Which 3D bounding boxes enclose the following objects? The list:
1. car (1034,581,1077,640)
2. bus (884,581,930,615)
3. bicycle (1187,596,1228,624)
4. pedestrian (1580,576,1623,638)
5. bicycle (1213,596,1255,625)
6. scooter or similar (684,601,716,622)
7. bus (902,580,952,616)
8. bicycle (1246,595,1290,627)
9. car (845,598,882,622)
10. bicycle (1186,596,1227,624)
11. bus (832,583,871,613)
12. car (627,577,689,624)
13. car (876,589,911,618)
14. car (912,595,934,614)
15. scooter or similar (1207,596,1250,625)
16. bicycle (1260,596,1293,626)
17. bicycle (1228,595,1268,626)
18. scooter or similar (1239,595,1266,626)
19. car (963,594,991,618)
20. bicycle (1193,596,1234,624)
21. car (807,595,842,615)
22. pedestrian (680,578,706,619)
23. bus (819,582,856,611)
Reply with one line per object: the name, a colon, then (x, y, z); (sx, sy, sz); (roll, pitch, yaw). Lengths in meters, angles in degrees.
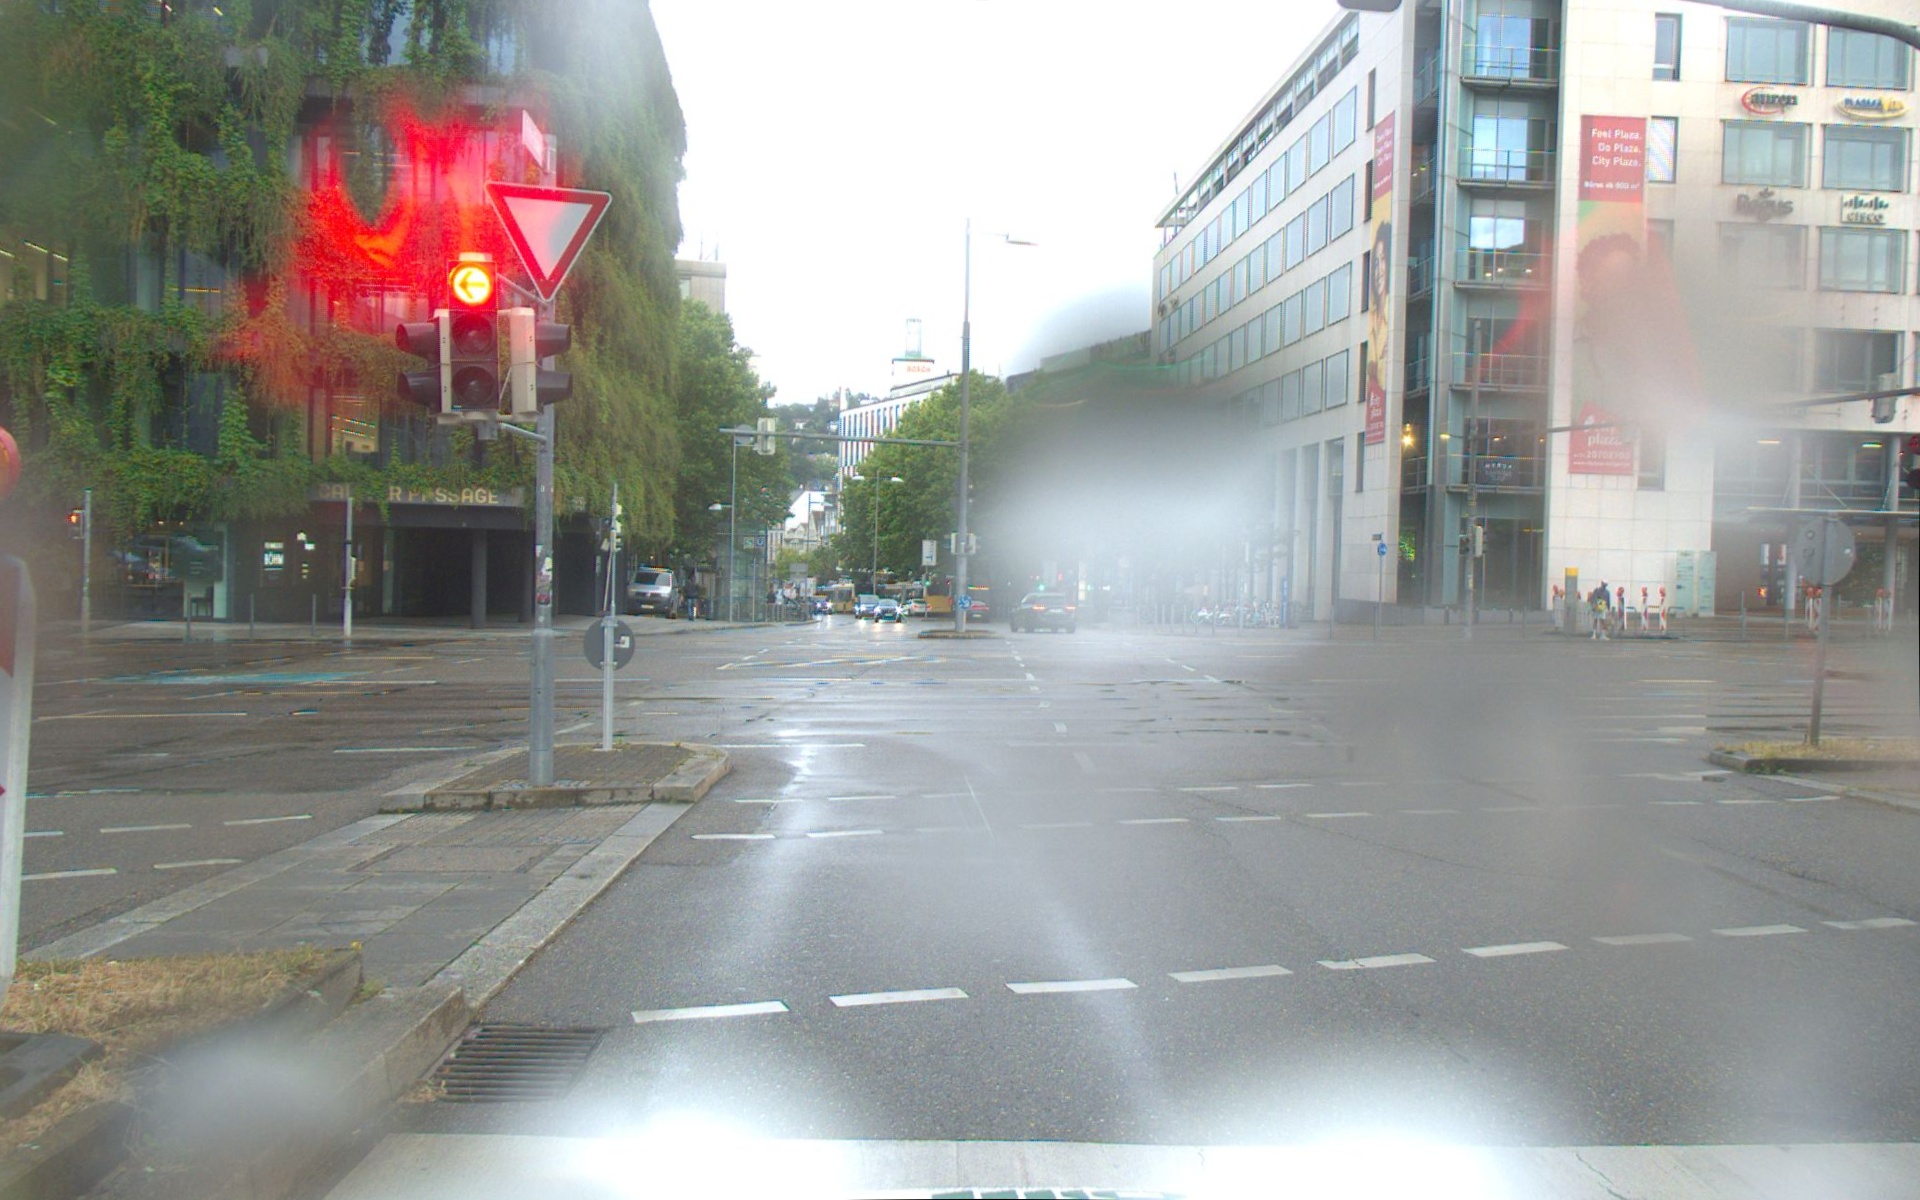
car: (3.518, 0.395, 60.745); (1.511, 2.049, 4.670); (1, 0, 3)
bus: (-4.974, -0.250, 153.007); (2.585, 3.048, 7.417); (0, 0, -16)
bicycle: (11.001, 0.446, 73.561); (1.741, 1.215, 0.586); (1, -1, 1)
pedestrian: (19.429, 0.210, 50.091); (0.942, 1.848, 0.836); (1, -1, -1)
bicycle: (11.888, 0.454, 71.771); (1.741, 1.215, 0.586); (1, -1, 1)
scooter or similar: (-12.939, 0.560, 82.333); (0.612, 1.022, 1.653); (1, 0, 37)
bus: (-2.977, -0.205, 145.891); (2.585, 3.048, 7.417); (0, 0, -16)
bicycle: (12.118, 0.428, 65.013); (1.590, 1.215, 0.586); (1, -1, 25)
car: (-7.287, 0.739, 124.676); (2.125, 1.796, 4.817); (-1, 0, -11)
bicycle: (10.858, 0.441, 72.924); (1.741, 1.215, 0.586); (1, -1, 1)
bus: (-11.351, -0.276, 173.056); (2.585, 3.048, 7.296); (0, 0, -16)
car: (-12.394, 0.028, 68.132); (1.832, 1.871, 3.999); (1, 0, -1)
car: (-4.396, 0.218, 108.773); (2.121, 1.796, 5.108); (1, 0, -4)
car: (-3.043, 0.383, 136.801); (1.745, 1.534, 3.999); (1, 0, -1)
scooter or similar: (11.543, 0.445, 71.143); (1.741, 1.215, 0.586); (1, -1, 1)
bicycle: (12.856, 0.451, 67.134); (0.575, 1.215, 1.776); (1, -1, 37)
bicycle: (11.581, 0.426, 66.557); (0.578, 1.215, 1.766); (1, 0, -28)
scooter or similar: (11.382, 0.412, 64.317); (0.946, 1.215, 0.453); (1, -1, 40)
car: (1.085, 0.420, 110.159); (1.745, 1.534, 3.999); (1, 0, -1)
bicycle: (11.418, 0.458, 74.485); (1.741, 1.215, 0.586); (1, -1, 1)
car: (-12.496, 0.446, 152.021); (2.130, 1.796, 5.086); (1, 0, -18)
pedestrian: (-10.987, -0.072, 68.021); (0.915, 1.673, 0.774); (1, -1, -1)
bus: (-13.348, -0.387, 180.123); (2.585, 3.048, 7.417); (0, 0, -16)
